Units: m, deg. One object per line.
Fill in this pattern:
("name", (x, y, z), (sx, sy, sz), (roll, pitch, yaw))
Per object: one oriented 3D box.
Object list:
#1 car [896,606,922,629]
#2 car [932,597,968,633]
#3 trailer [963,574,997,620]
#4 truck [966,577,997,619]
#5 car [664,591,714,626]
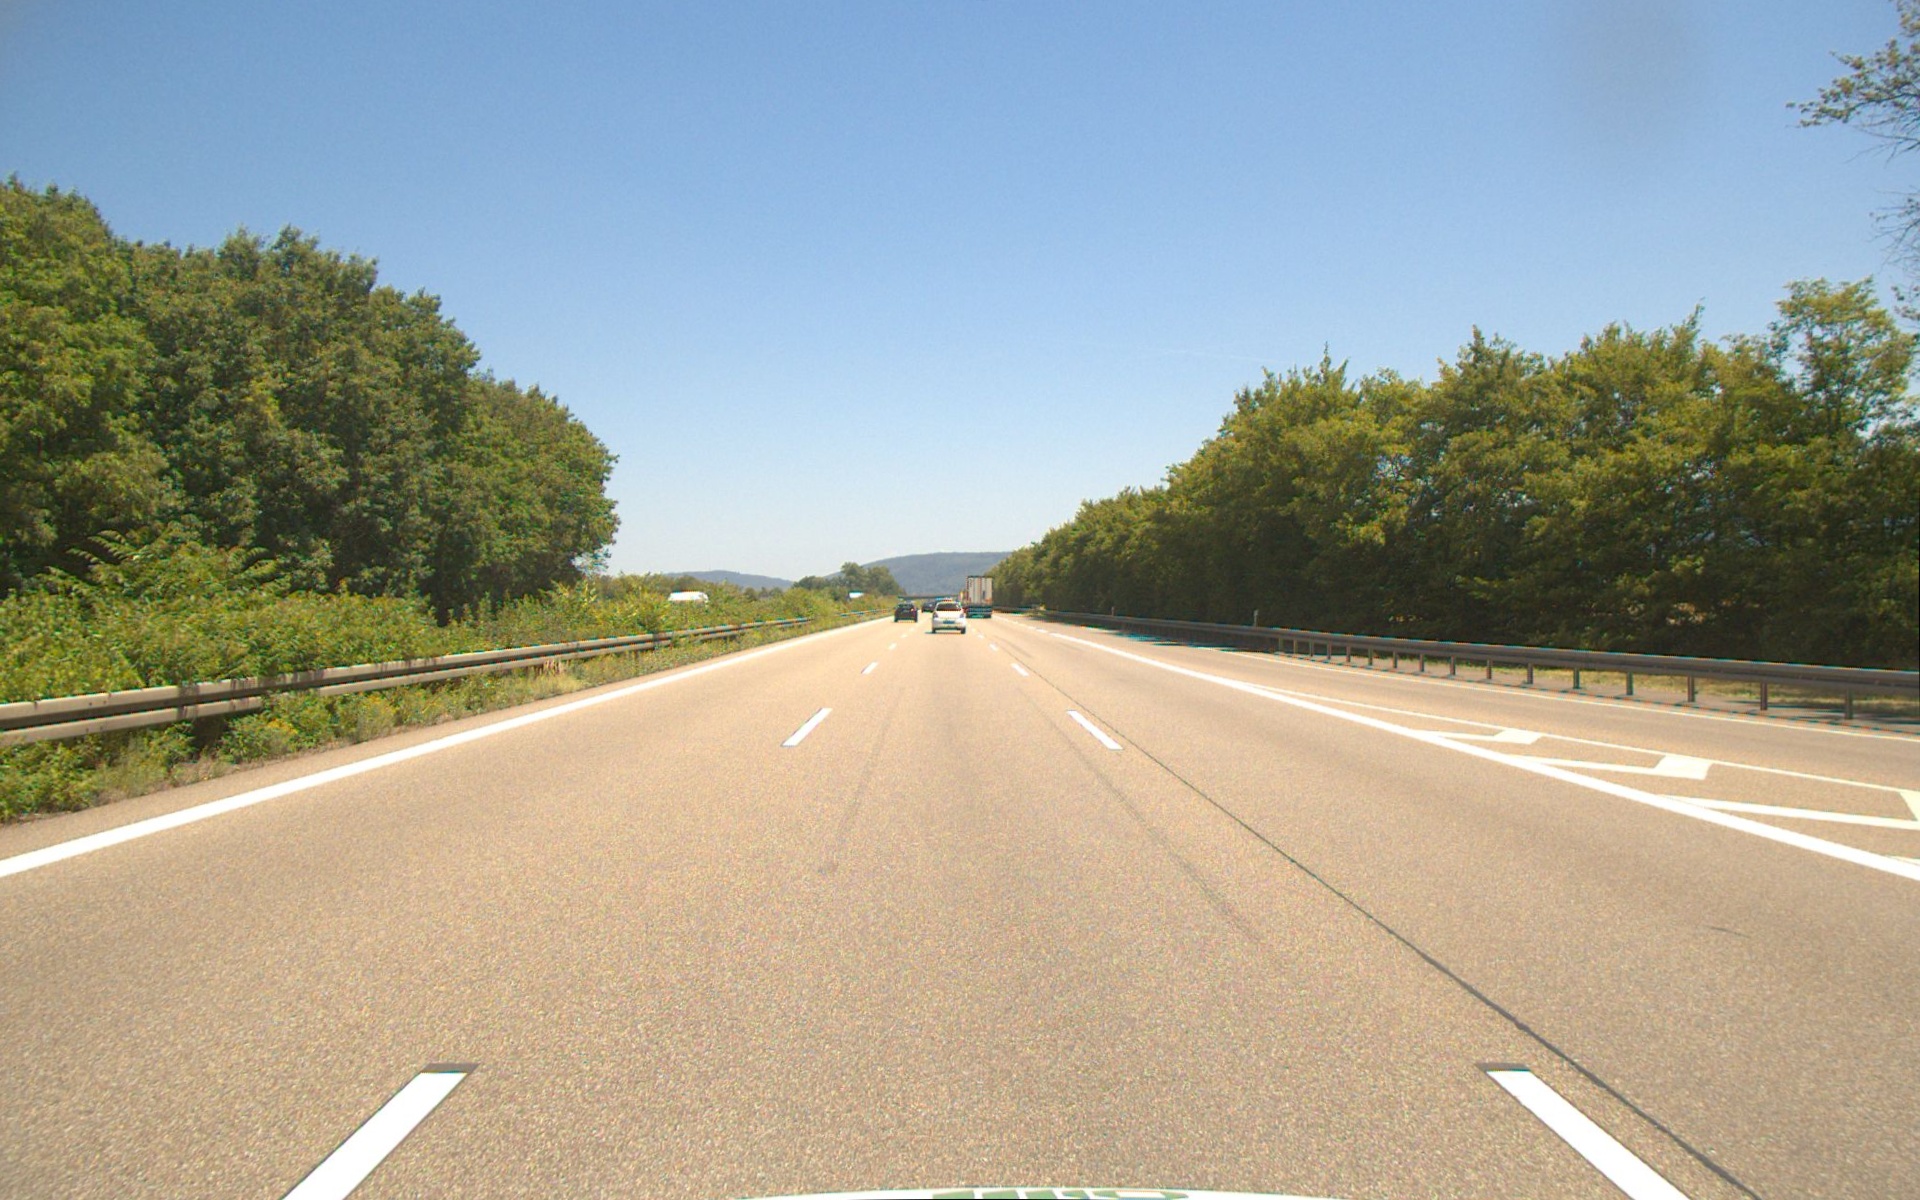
("car", (-3.868, 1.326, 125.925), (1.953, 1.742, 3.999), (1, 0, -1))
("car", (-0.524, 0.731, 81.372), (1.697, 1.713, 3.999), (-1, 0, -1))
("trailer", (2.079, -0.231, 168.752), (3.151, 4.421, 13.632), (1, 0, 2))
("truck", (2.294, -0.199, 175.806), (3.151, 4.421, 6.592), (1, 0, 2))
("car", (-17.033, 0.553, 104.263), (2.102, 2.090, 6.632), (1, 0, -1))
